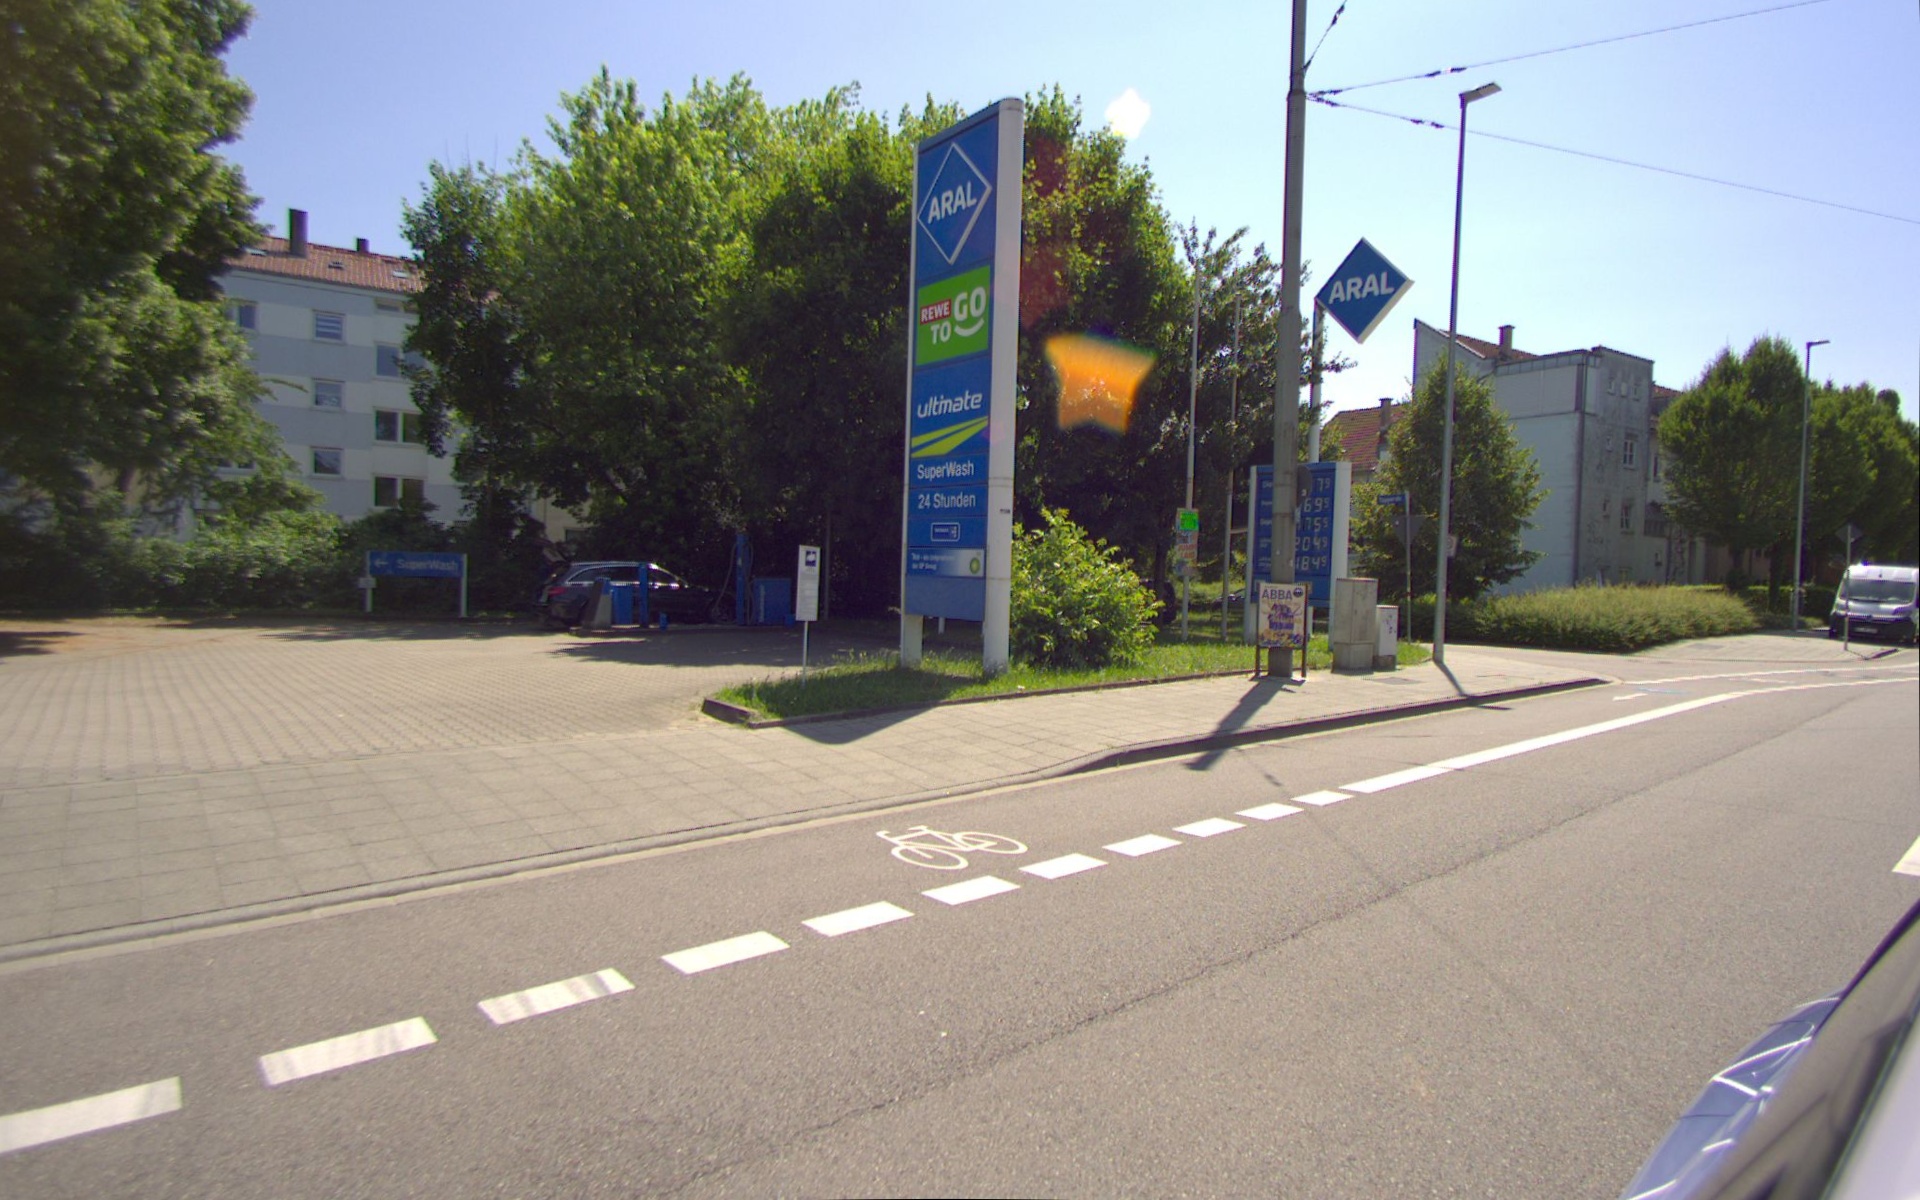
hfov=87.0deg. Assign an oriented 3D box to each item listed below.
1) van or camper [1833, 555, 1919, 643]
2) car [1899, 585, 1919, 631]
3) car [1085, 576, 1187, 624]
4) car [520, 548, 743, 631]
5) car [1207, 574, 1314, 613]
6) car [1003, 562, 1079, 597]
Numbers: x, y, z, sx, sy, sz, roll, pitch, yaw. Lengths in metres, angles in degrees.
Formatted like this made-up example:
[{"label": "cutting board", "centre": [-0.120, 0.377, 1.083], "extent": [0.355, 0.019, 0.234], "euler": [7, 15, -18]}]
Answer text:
[{"label": "van or camper", "centre": [30.253, -0.057, 32.763], "extent": [5.891, 2.513, 2.125], "euler": [0, 5, -42]}, {"label": "car", "centre": [37.334, 0.335, 38.647], "extent": [3.933, 1.653, 1.825], "euler": [0, 4, -43]}, {"label": "car", "centre": [6.890, -0.032, 39.931], "extent": [1.959, 1.708, 4.008], "euler": [1, 2, -26]}, {"label": "car", "centre": [-7.259, -0.279, 22.493], "extent": [4.328, 1.682, 2.000], "euler": [-1, 3, -36]}, {"label": "car", "centre": [13.020, -0.293, 44.083], "extent": [1.961, 1.539, 4.230], "euler": [1, 2, -33]}, {"label": "car", "centre": [3.727, -0.981, 47.244], "extent": [1.806, 1.506, 4.009], "euler": [1, 2, -24]}]
